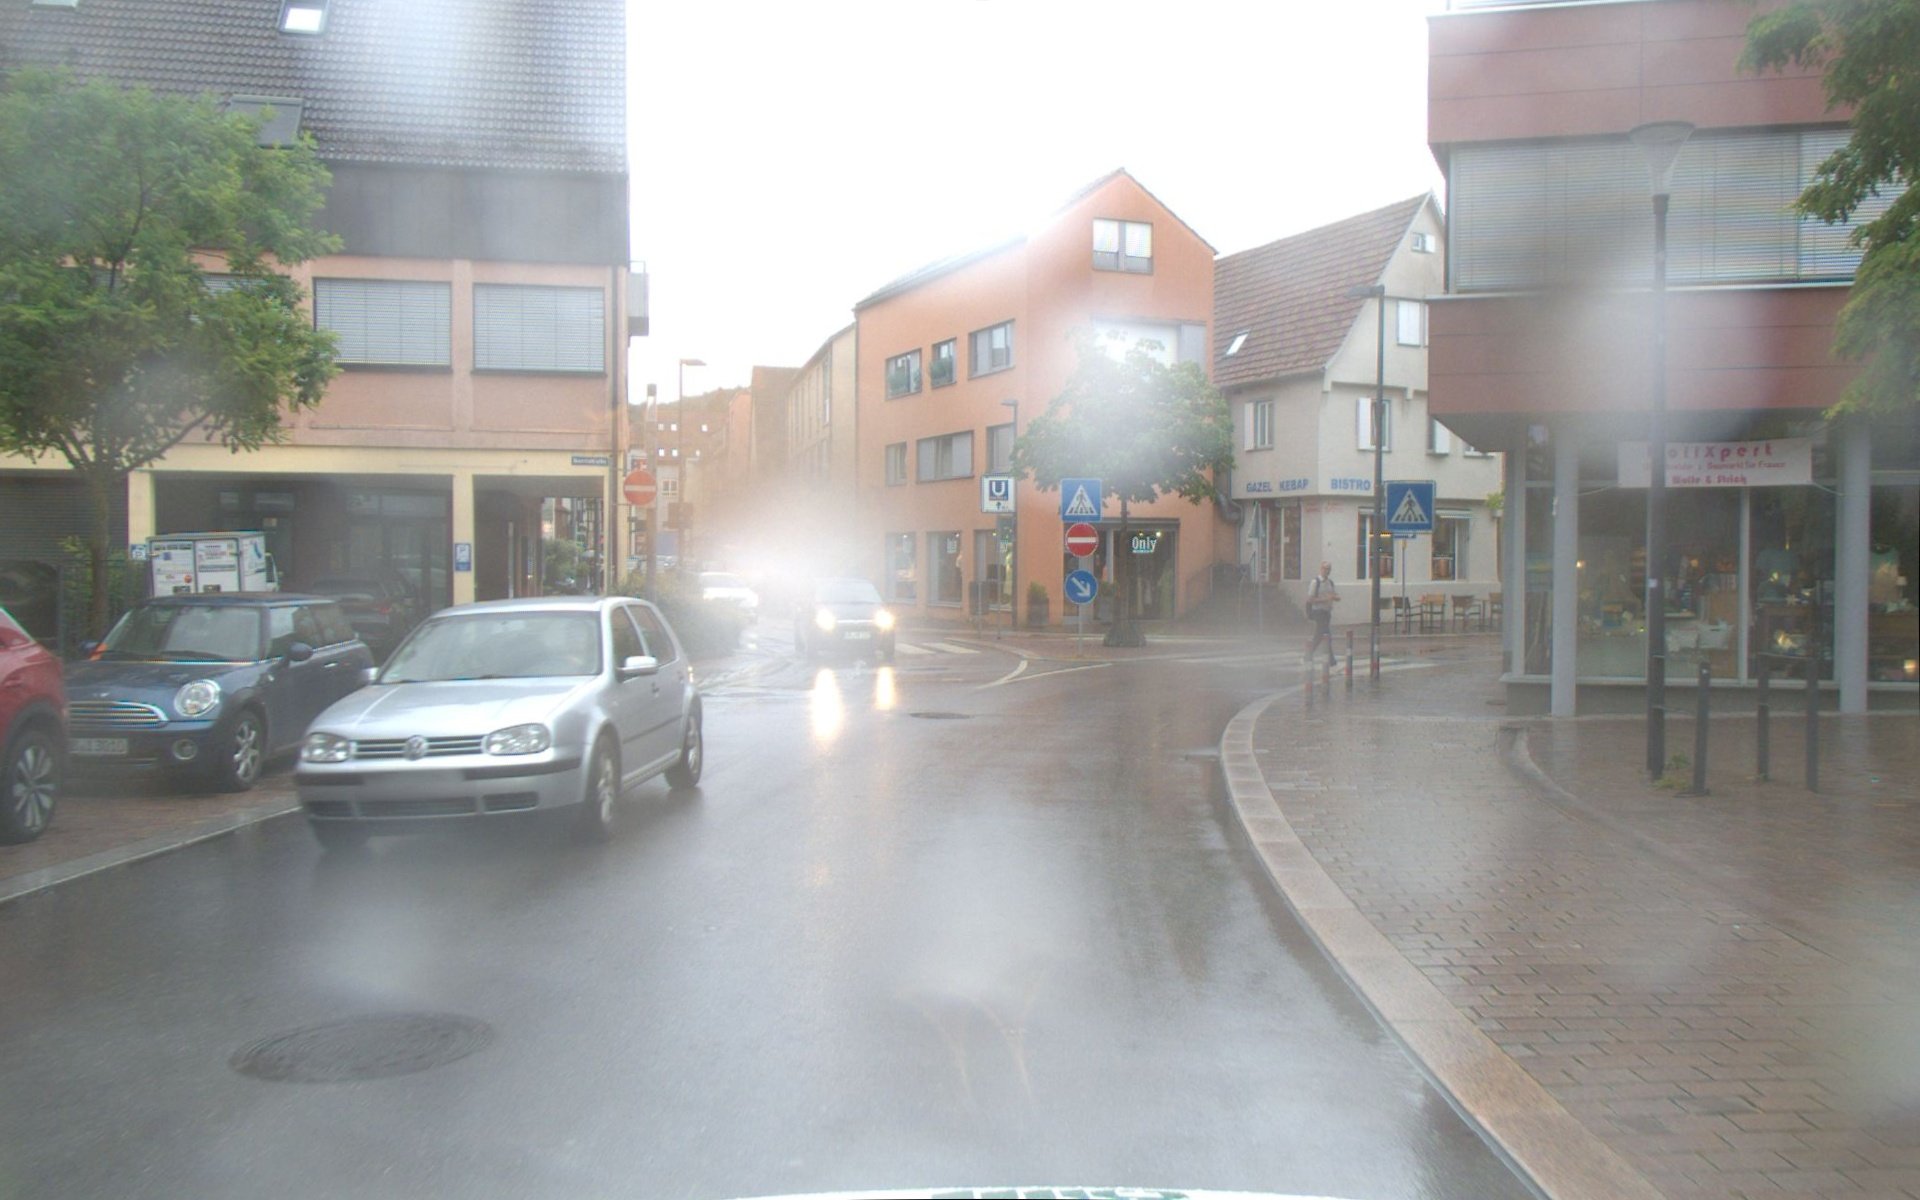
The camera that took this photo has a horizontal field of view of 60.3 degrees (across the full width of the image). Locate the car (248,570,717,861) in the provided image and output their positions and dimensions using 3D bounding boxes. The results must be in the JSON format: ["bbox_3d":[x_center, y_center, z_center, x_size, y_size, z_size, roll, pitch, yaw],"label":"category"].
[{"bbox_3d":[-2.781,0.574,10.620,1.753,1.442,4.029,-2,1,0],"label":"car"}]

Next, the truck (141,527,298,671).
[{"bbox_3d":[-12.444,-0.084,27.988,1.568,2.097,3.188,-2,5,-9],"label":"truck"}]

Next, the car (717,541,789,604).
[{"bbox_3d":[-7.846,-1.021,62.265,2.068,2.183,4.849,-2,1,-14],"label":"car"}]

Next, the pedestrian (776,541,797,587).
[{"bbox_3d":[-7.797,-1.611,74.315,0.852,2.049,0.705,0,1,-15],"label":"pedestrian"}]

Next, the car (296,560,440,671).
[{"bbox_3d":[-10.037,0.198,28.294,1.548,1.504,3.819,0,5,-8],"label":"car"}]

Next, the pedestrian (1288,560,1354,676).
[{"bbox_3d":[6.212,0.295,28.475,0.752,1.948,0.850,0,1,-43],"label":"pedestrian"}]

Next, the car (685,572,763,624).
[{"bbox_3d":[-7.015,-0.092,48.926,1.959,1.466,4.151,0,1,-13],"label":"car"}]

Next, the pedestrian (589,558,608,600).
[{"bbox_3d":[-17.489,-1.014,79.971,0.821,2.049,0.850,0,1,-16],"label":"pedestrian"}]

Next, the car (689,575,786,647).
[{"bbox_3d":[-4.976,0.210,36.632,1.685,1.483,3.896,1,1,-14],"label":"car"}]

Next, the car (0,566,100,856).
[{"bbox_3d":[-6.163,0.632,8.198,1.751,1.604,4.105,-1,0,-2],"label":"car"}]

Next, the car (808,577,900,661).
[{"bbox_3d":[-2.085,0.307,31.883,1.616,1.471,3.980,-2,1,-5],"label":"car"}]

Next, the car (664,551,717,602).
[{"bbox_3d":[-12.361,-1.083,75.779,2.067,2.183,4.852,-2,1,-13],"label":"car"}]

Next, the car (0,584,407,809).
[{"bbox_3d":[-5.925,0.635,13.194,1.679,1.483,3.910,1,1,0],"label":"car"}]
